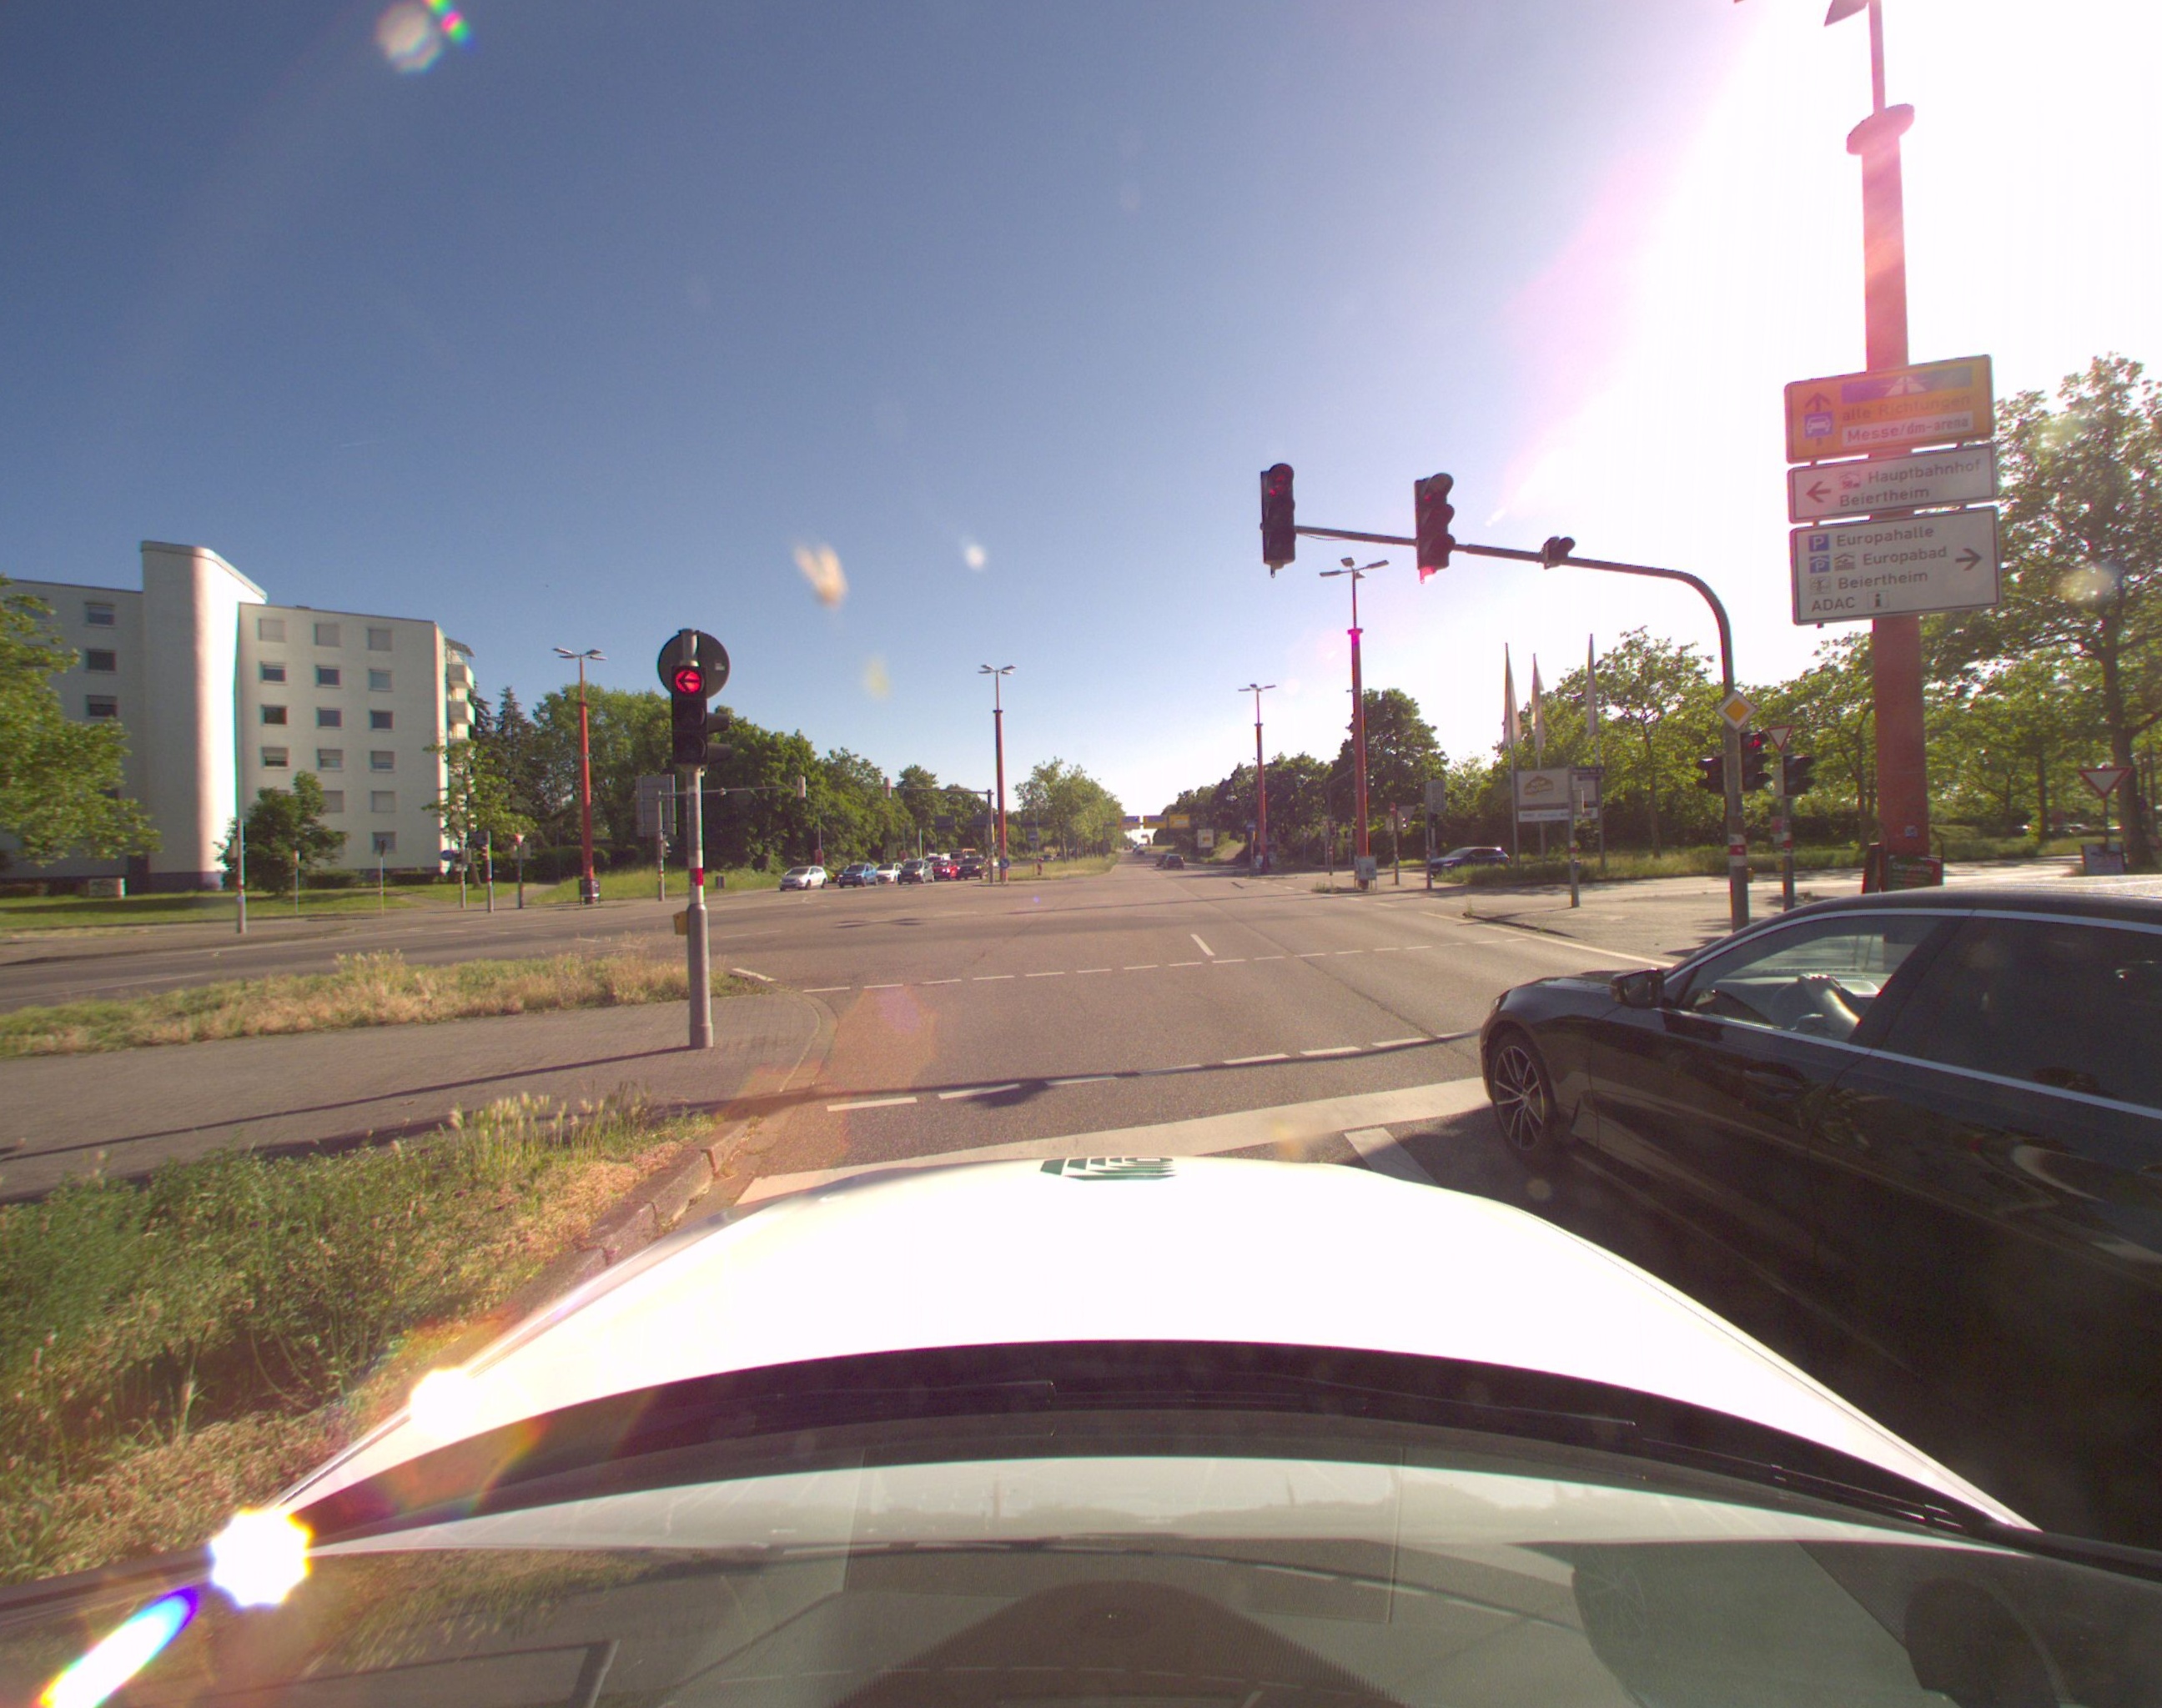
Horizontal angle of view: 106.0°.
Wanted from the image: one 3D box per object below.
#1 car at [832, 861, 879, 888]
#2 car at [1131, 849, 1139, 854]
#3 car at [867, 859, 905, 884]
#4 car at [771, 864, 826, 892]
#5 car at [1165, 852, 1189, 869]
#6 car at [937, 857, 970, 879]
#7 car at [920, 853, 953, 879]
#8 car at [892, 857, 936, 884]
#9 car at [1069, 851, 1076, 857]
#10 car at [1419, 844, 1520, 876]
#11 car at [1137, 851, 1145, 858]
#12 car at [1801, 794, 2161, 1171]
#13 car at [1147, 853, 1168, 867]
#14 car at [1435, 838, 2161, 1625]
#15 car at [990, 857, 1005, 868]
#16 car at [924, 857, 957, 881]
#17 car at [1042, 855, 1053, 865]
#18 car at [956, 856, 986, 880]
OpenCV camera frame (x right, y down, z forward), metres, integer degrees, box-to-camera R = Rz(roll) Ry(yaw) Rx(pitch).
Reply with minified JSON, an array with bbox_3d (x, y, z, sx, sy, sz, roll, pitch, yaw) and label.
[{"bbox_3d":[-14.236,1.282,51.639,1.989,1.573,4.116,-2,0,-3],"label":"car"},{"bbox_3d":[17.104,-0.913,260.174,2.153,1.573,4.277,-2,0,-2],"label":"car"},{"bbox_3d":[-13.739,1.213,57.521,1.991,1.573,4.112,-3,0,-6],"label":"car"},{"bbox_3d":[-17.693,1.464,51.179,1.987,1.573,4.120,-2,0,0],"label":"car"},{"bbox_3d":[9.542,0.594,81.149,2.149,1.573,4.286,-2,0,4],"label":"car"},{"bbox_3d":[-10.066,1.090,64.652,1.988,1.573,4.118,-2,0,-1],"label":"car"},{"bbox_3d":[-12.735,1.050,71.984,2.055,2.193,4.377,-2,0,0],"label":"car"},{"bbox_3d":[-10.732,1.043,52.578,1.988,1.573,4.119,-2,0,-1],"label":"car"},{"bbox_3d":[-2.641,-0.051,239.738,1.872,1.573,4.117,-2,0,-2],"label":"car"},{"bbox_3d":[18.924,0.287,39.716,4.276,1.428,1.874,-2,0,-16],"label":"car"},{"bbox_3d":[15.780,0.137,214.066,2.149,1.573,4.285,-2,0,4],"label":"car"},{"bbox_3d":[5.802,0.562,3.260,1.959,1.686,4.479,-1,0,2],"label":"car"},{"bbox_3d":[9.283,0.748,98.987,2.151,1.573,4.584,-2,0,1],"label":"car"},{"bbox_3d":[2.955,0.667,2.372,1.986,1.394,4.479,-2,0,2],"label":"car"},{"bbox_3d":[-12.131,1.188,118.023,1.872,1.573,3.943,-2,0,-2],"label":"car"},{"bbox_3d":[-10.104,1.044,58.870,1.991,1.573,4.112,-2,0,-6],"label":"car"},{"bbox_3d":[-5.834,1.054,143.985,1.872,1.573,4.117,-2,0,-2],"label":"car"},{"bbox_3d":[-7.566,0.936,56.488,1.874,1.573,4.112,-2,0,-6],"label":"car"}]
